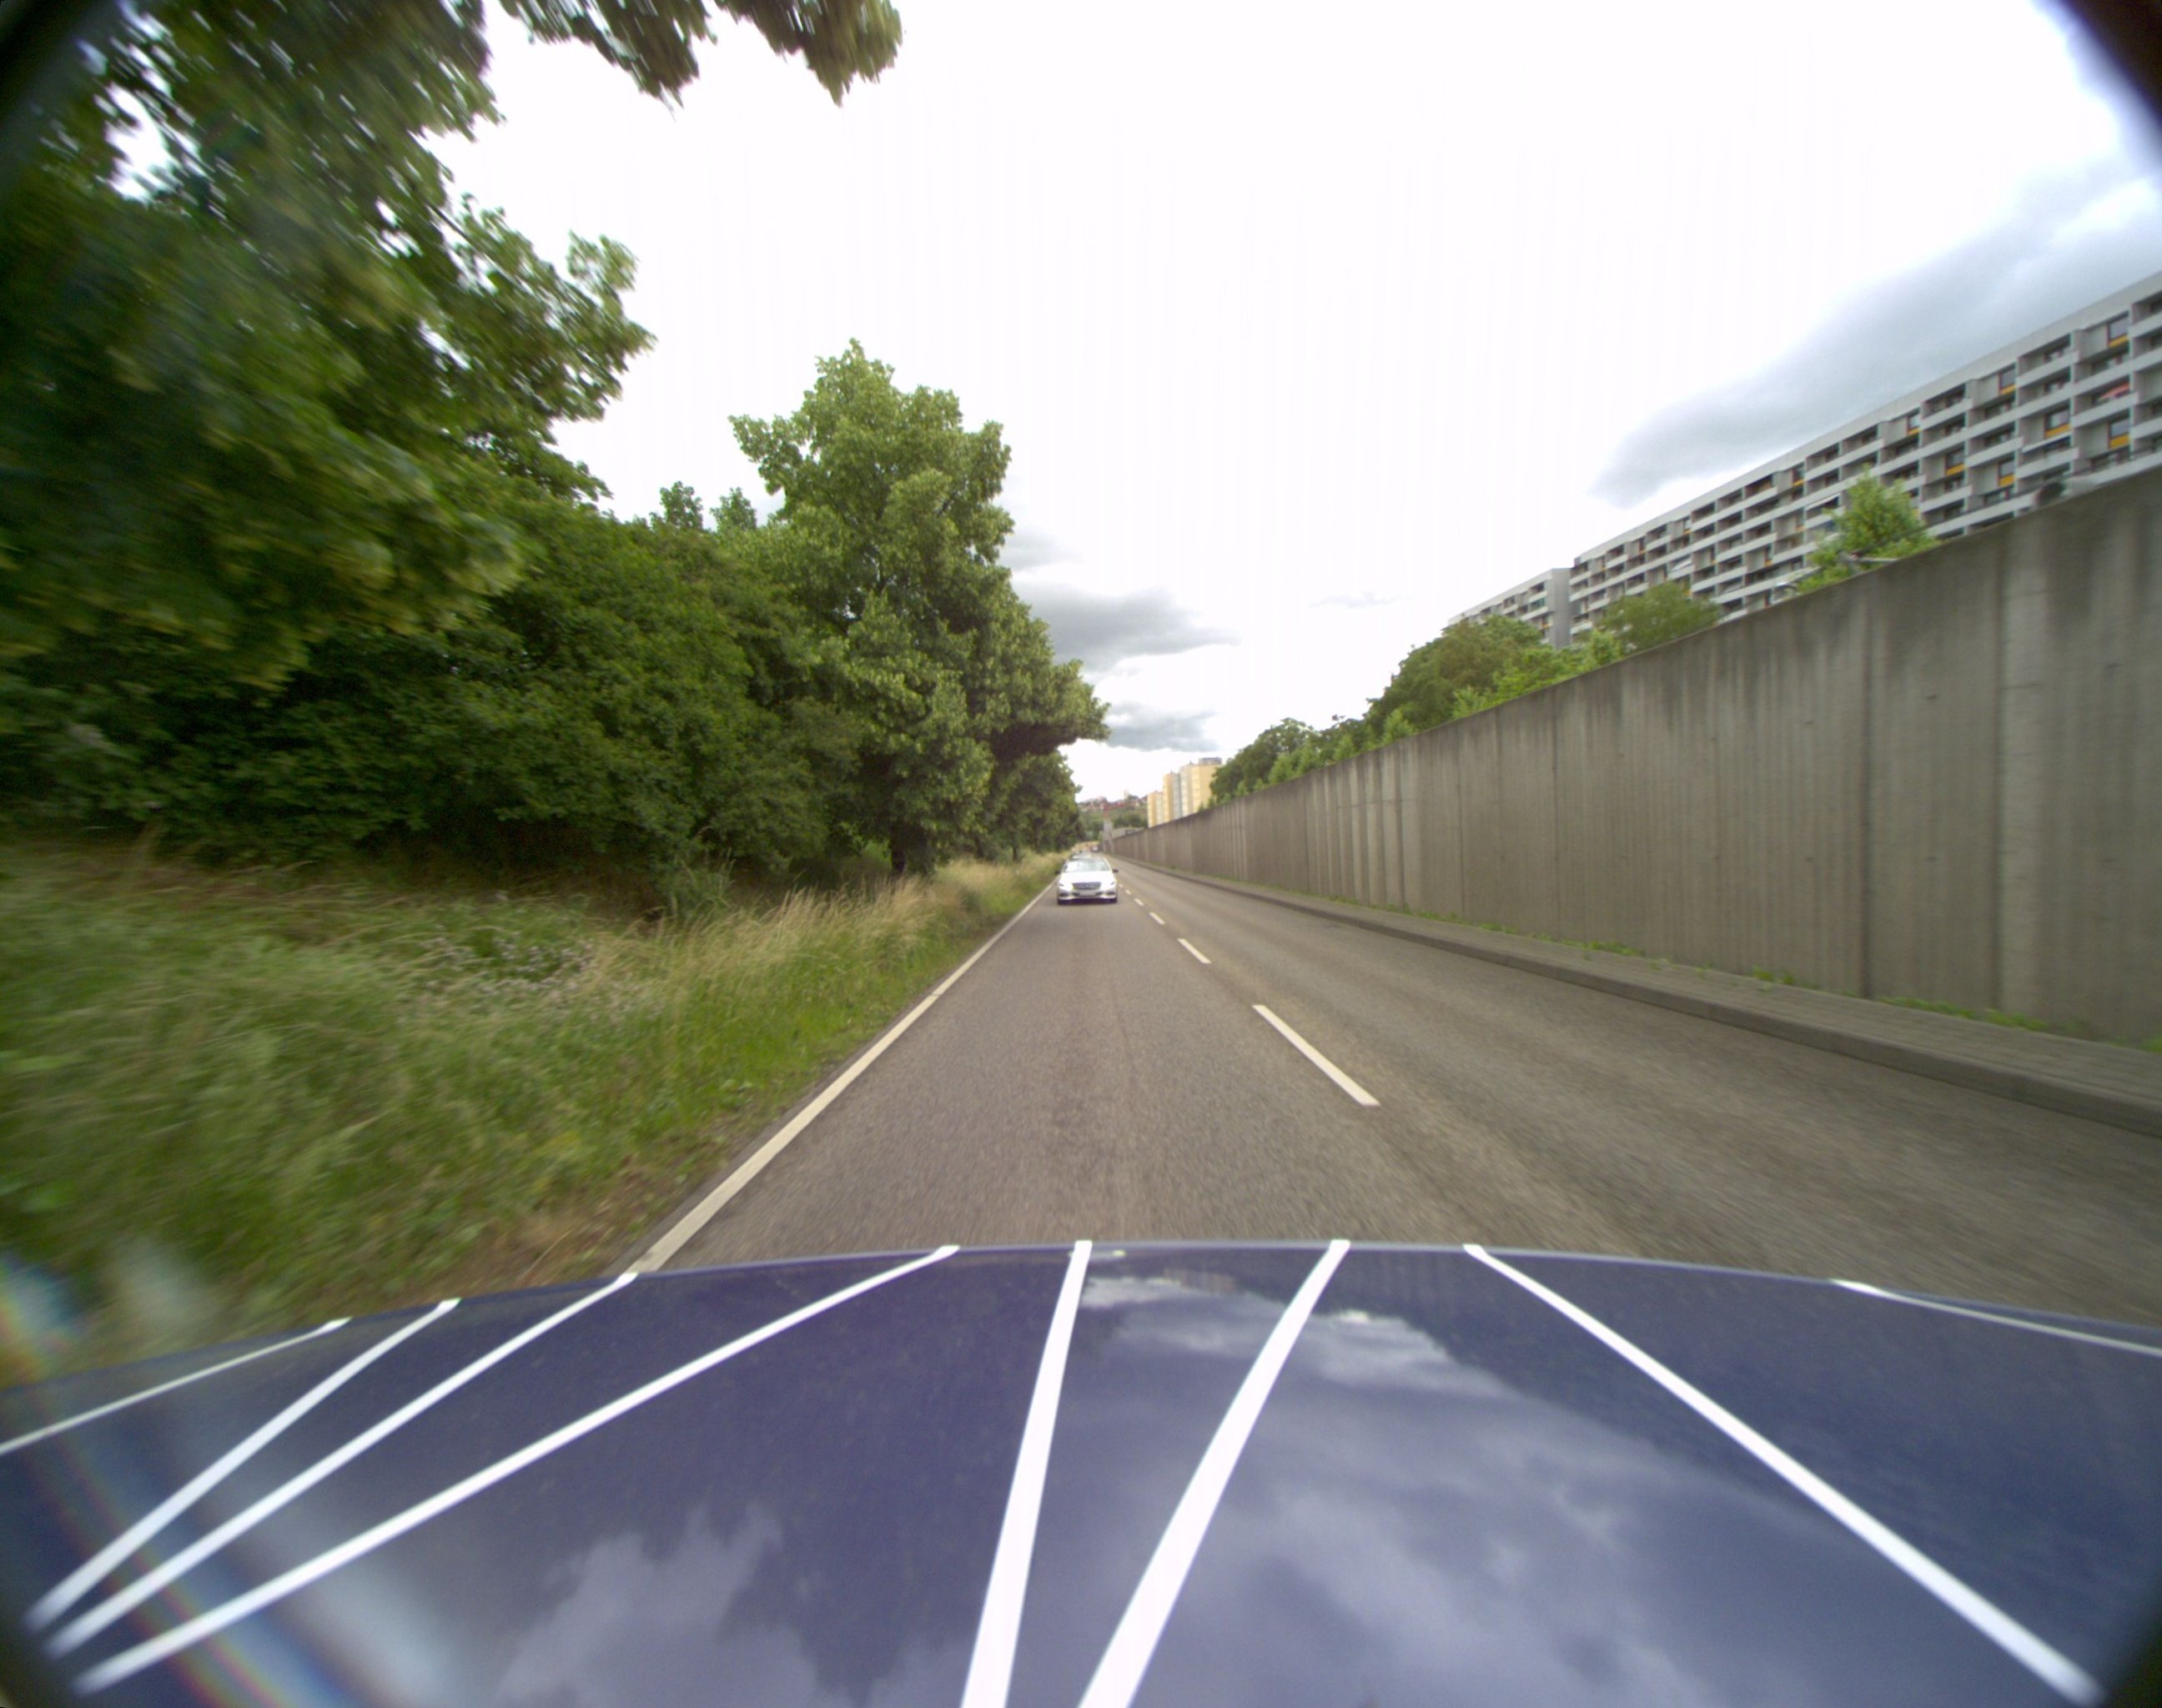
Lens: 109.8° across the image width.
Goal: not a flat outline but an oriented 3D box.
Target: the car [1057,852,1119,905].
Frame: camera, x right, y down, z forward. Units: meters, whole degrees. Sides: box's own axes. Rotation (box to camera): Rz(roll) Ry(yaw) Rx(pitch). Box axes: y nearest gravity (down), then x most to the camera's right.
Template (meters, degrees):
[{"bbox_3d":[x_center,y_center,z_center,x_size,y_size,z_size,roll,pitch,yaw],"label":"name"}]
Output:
[{"bbox_3d":[0.220,0.742,25.138,1.842,1.499,4.160,-2,1,1],"label":"car"}]

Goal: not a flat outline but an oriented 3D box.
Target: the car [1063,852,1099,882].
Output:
[{"bbox_3d":[0.029,0.689,42.251,1.878,1.459,3.999,-2,1,1],"label":"car"}]

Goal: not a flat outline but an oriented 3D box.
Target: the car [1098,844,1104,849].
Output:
[{"bbox_3d":[6.058,-2.263,233.218,1.639,1.478,3.493,-5,-1,1],"label":"car"}]

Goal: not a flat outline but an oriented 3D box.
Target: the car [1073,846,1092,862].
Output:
[{"bbox_3d":[0.155,-0.035,85.881,1.998,1.746,4.000,-2,1,1],"label":"car"}]
